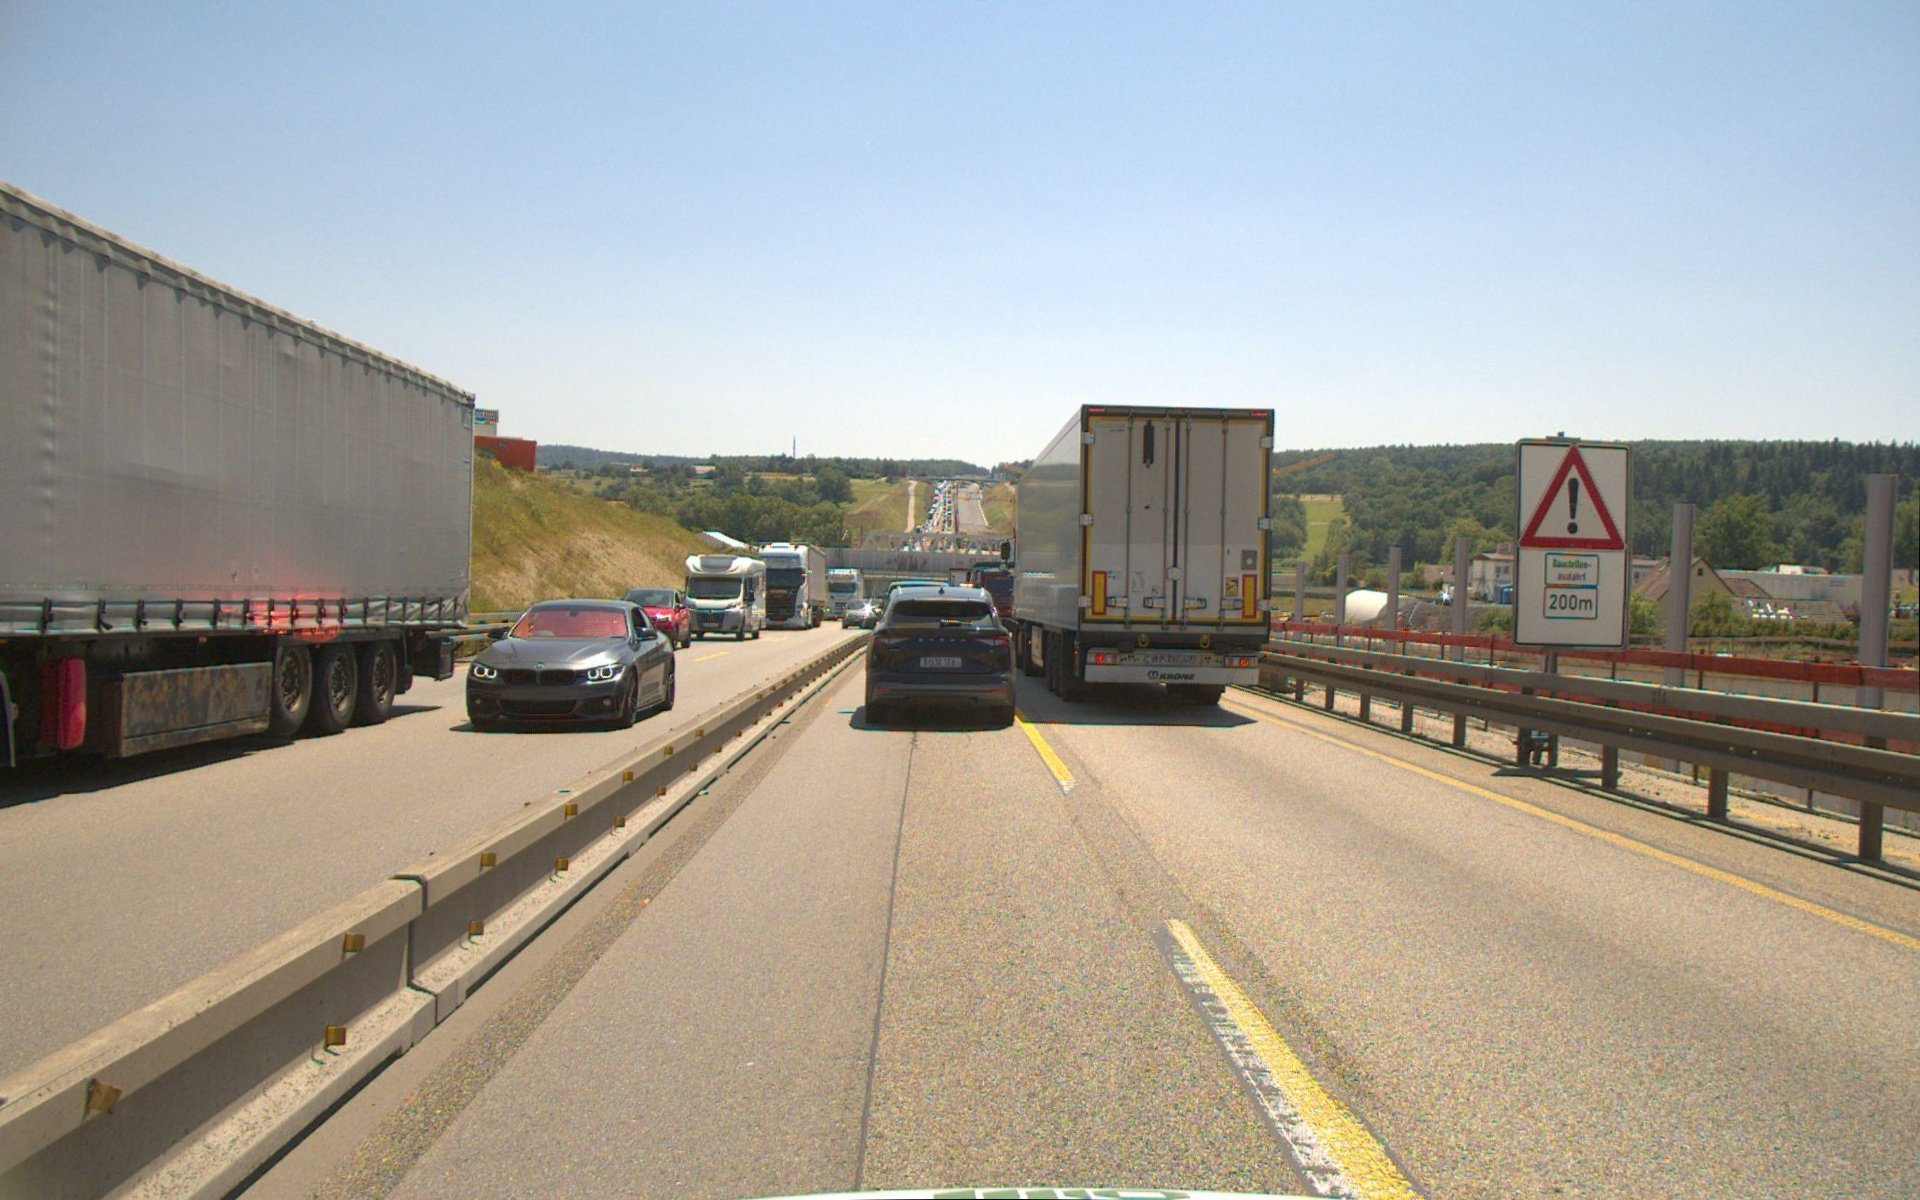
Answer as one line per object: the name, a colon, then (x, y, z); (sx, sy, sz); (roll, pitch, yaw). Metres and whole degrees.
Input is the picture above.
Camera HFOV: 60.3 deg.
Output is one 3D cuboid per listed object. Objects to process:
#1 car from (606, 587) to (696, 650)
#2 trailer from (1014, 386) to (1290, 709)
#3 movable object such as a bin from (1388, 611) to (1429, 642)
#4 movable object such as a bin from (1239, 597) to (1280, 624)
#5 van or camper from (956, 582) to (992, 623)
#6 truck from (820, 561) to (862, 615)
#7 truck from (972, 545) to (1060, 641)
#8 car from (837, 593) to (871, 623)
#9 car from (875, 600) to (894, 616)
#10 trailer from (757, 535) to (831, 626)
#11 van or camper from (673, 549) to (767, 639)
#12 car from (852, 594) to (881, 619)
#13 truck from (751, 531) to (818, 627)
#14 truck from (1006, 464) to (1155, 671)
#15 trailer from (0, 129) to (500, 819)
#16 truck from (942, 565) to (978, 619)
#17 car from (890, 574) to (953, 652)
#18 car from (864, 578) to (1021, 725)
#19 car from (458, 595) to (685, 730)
car: (-8.143, 0.469, 43.951); (1.682, 1.579, 4.263); (1, 0, -2)
trailer: (2.714, -0.601, 28.384); (2.745, 4.129, 14.112); (1, -1, -1)
movable object such as a bin: (34.130, 1.985, 126.041); (1.953, 2.278, 4.151); (1, 0, 0)
movable object such as a bin: (33.776, 1.157, 186.810); (2.829, 2.960, 9.477); (1, 0, 0)
van or camper: (0.793, 0.124, 97.858); (1.953, 2.283, 3.999); (2, 0, -1)
truck: (-9.611, -0.940, 134.238); (3.173, 4.233, 4.246); (1, 0, -2)
truck: (1.922, -0.171, 61.740); (2.756, 3.190, 12.835); (1, 0, 0)
car: (-5.506, 0.423, 85.909); (1.596, 1.505, 3.379); (1, 0, -2)
car: (-7.915, 0.822, 172.925); (1.775, 1.666, 4.361); (1, 0, 0)
trailer: (-8.582, -0.962, 86.985); (2.754, 4.361, 14.030); (1, 0, -2)
van or camper: (-8.109, -0.203, 56.635); (2.287, 2.826, 7.514); (1, 0, -2)
car: (-6.195, 0.427, 109.855); (1.811, 1.614, 4.173); (1, 0, -2)
truck: (-8.316, -0.960, 78.664); (2.718, 4.362, 4.675); (1, 0, -2)
truck: (2.509, -0.627, 35.794); (2.720, 4.129, 4.903); (1, -1, -1)
trailer: (-7.368, -0.805, 15.159); (2.799, 4.196, 13.433); (1, 0, -1)
truck: (-0.036, -0.609, 128.339); (2.467, 4.028, 7.597); (2, 0, -2)
car: (-0.936, 0.303, 41.357); (1.444, 1.826, 3.297); (2, 0, 0)
car: (-0.228, 0.578, 20.310); (1.764, 1.649, 3.297); (0, 0, -1)
car: (-4.442, 0.655, 19.574); (1.732, 1.386, 4.410); (1, 0, -1)
